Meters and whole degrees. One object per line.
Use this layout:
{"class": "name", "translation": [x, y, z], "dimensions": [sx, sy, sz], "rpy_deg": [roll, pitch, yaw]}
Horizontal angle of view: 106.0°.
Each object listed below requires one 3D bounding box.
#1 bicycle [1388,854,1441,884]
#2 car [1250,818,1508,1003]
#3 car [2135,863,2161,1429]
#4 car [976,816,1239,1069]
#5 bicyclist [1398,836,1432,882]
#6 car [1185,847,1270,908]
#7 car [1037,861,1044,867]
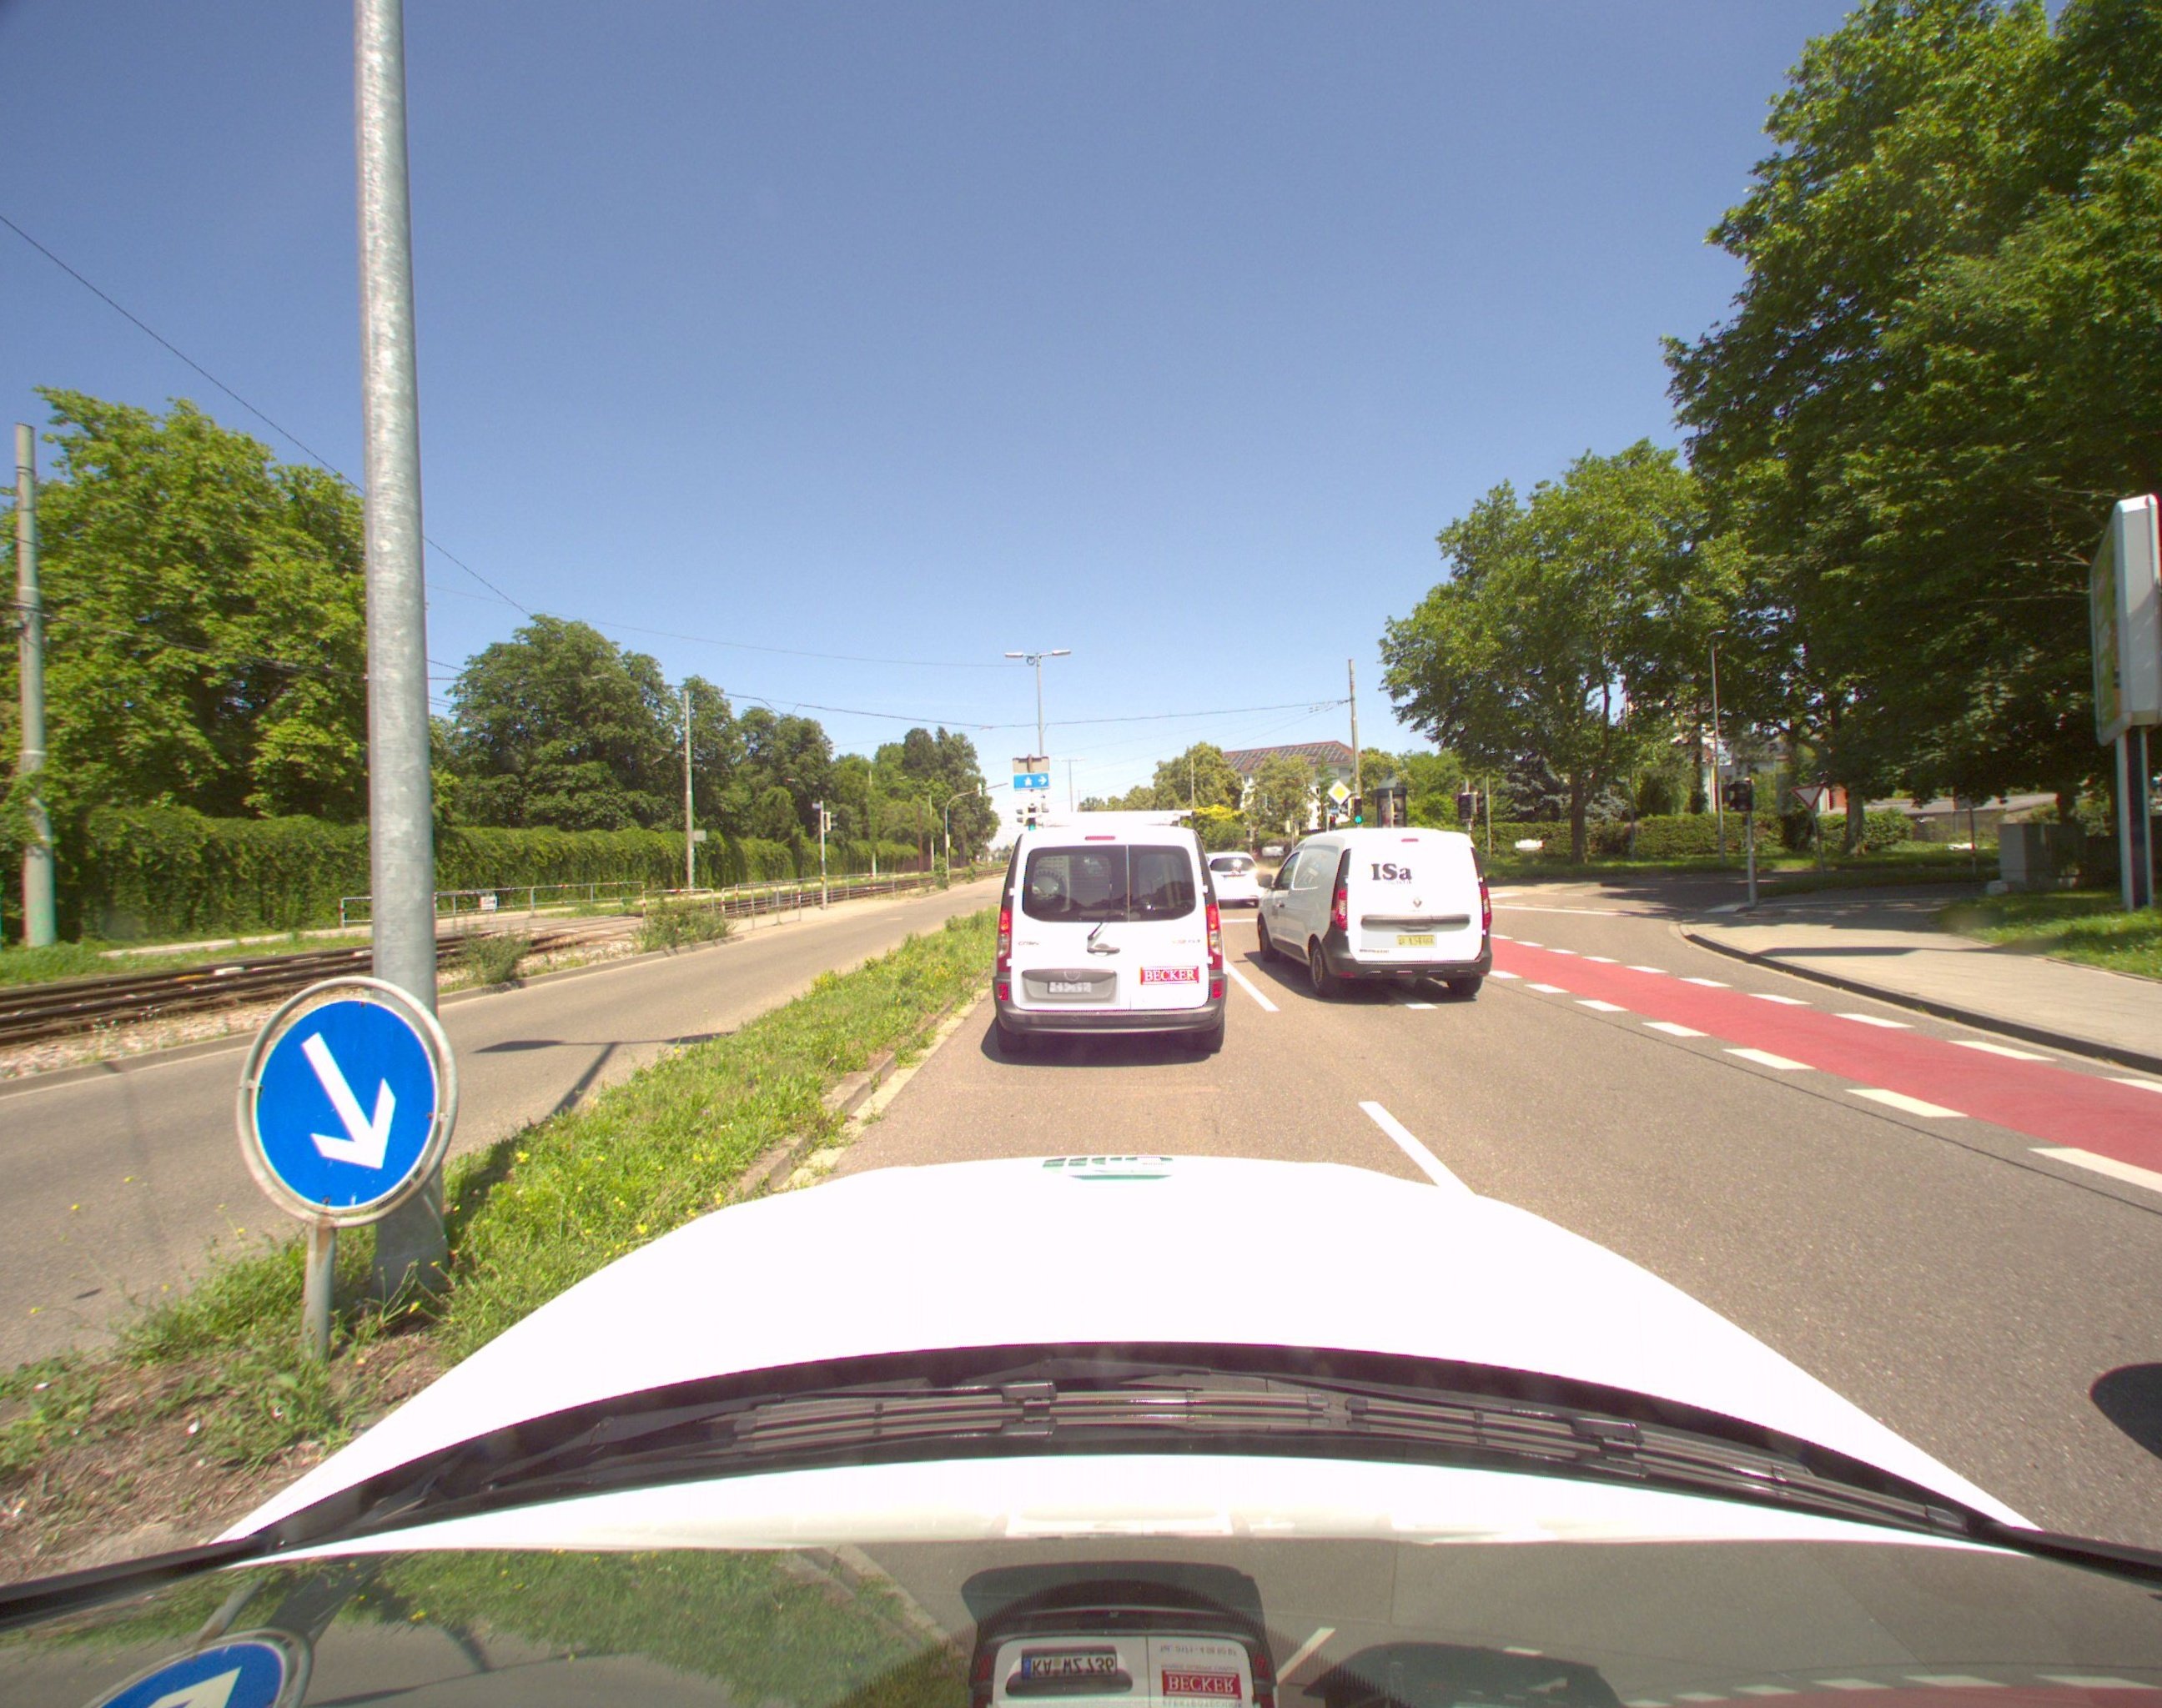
{"class": "bicycle", "translation": [13.257, 0.598, 32.413], "dimensions": [0.894, 1.159, 1.945], "rpy_deg": [-1, -1, -17]}
{"class": "car", "translation": [3.321, 0.554, 9.969], "dimensions": [1.721, 1.788, 4.065], "rpy_deg": [0, 0, 1]}
{"class": "car", "translation": [3.489, 0.753, 0.393], "dimensions": [1.603, 1.447, 3.438], "rpy_deg": [0, 0, 2]}
{"class": "car", "translation": [0.253, 0.621, 7.900], "dimensions": [1.814, 1.739, 4.398], "rpy_deg": [-1, 0, 2]}
{"class": "bicyclist", "translation": [13.285, 0.209, 32.394], "dimensions": [0.976, 1.788, 0.722], "rpy_deg": [-1, -1, -18]}
{"class": "car", "translation": [4.090, 0.604, 23.286], "dimensions": [1.828, 1.568, 4.002], "rpy_deg": [0, 0, 2]}
{"class": "car", "translation": [-11.421, 2.874, 229.471], "dimensions": [1.694, 1.512, 4.060], "rpy_deg": [-2, 0, -4]}
